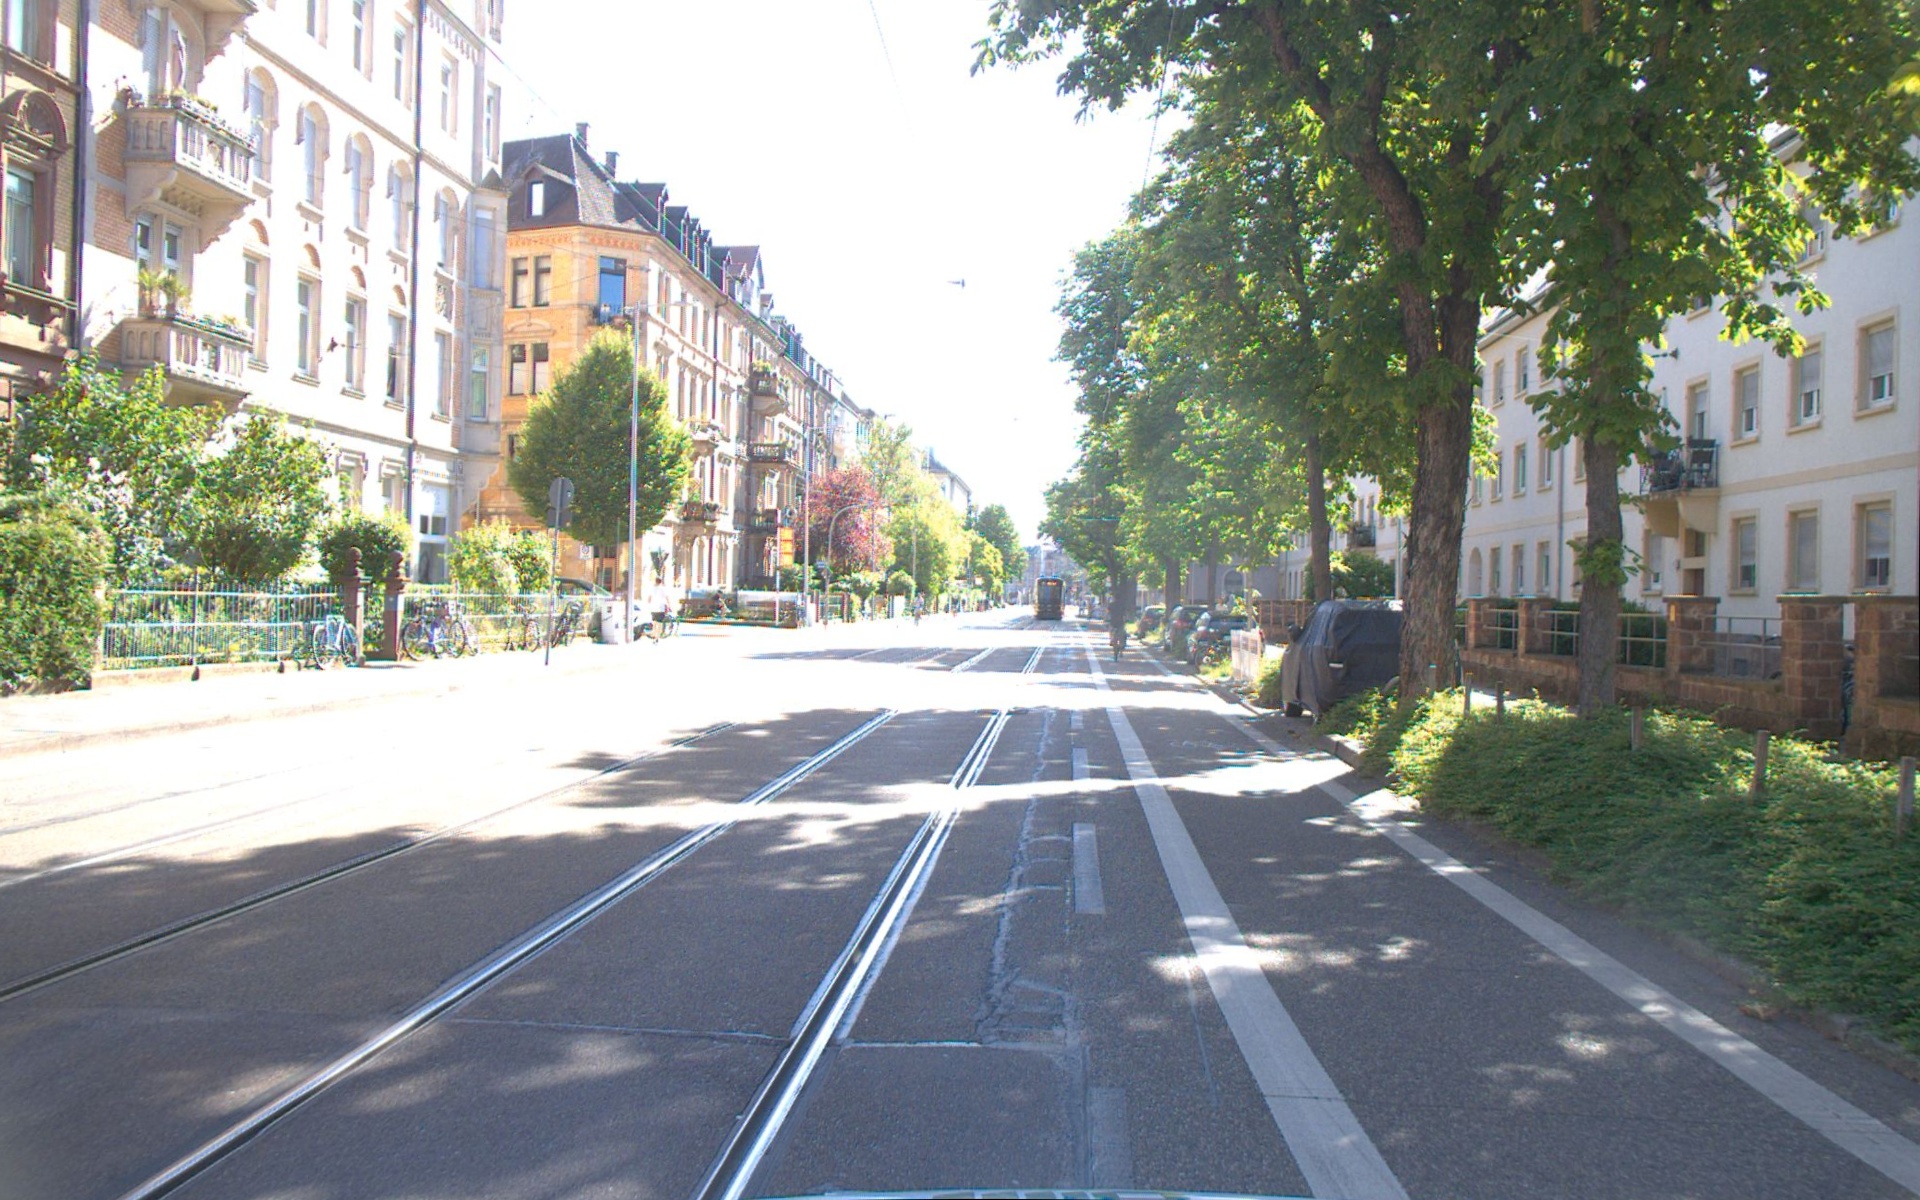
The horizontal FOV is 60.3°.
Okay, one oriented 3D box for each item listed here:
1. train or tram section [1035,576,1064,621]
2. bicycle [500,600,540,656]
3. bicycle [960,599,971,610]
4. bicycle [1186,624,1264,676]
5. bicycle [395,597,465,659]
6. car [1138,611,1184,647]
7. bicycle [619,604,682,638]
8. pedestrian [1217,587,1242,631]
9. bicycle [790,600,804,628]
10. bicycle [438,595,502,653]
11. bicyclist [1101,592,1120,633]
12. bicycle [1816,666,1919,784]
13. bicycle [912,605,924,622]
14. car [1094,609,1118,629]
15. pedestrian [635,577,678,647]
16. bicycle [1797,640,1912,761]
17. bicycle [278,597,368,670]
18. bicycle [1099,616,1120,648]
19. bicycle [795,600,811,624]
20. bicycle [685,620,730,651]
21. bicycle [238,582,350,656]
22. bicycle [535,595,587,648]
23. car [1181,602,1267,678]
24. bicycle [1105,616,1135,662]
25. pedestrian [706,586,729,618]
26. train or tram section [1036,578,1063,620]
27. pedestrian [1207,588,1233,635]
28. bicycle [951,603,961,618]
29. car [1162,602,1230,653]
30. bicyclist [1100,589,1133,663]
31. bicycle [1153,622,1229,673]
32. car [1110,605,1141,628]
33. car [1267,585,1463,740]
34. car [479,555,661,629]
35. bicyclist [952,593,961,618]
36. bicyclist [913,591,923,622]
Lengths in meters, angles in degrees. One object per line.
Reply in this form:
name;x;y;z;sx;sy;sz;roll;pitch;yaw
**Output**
train or tram section;7.479;-0.105;138.108;2.109;3.491;6.614;4;0;3
bicycle;-9.457;0.581;35.527;0.555;1.051;1.757;7;0;-21
bicycle;0.578;0.467;165.670;0.622;1.087;1.826;4;0;-13
bicycle;6.246;1.179;39.072;1.725;1.096;0.434;4;0;5
bicycle;-9.554;0.495;29.892;0.551;1.051;1.768;4;0;3
car;8.866;1.268;73.148;1.750;1.489;4.046;2;0;3
bicycle;-9.548;0.650;51.052;1.765;0.930;0.614;4;-2;-32
pedestrian;11.100;0.355;68.055;0.749;1.754;0.578;4;0;33
bicycle;-6.996;0.606;70.988;0.363;1.146;0.809;4;0;4
bicycle;-9.427;0.455;31.869;0.551;1.051;1.768;4;0;3
bicyclist;5.712;0.468;62.796;0.622;1.493;0.616;4;0;4
bicycle;10.768;1.445;19.564;0.438;1.260;1.676;2;0;2
bicycle;-2.295;0.736;90.916;0.450;0.942;2.204;1;0;4
car;11.232;1.433;127.669;1.712;1.445;4.001;1;0;3
pedestrian;-7.850;0.316;42.877;0.812;1.753;1.082;4;-1;-1
bicycle;10.188;1.117;18.893;0.438;1.260;1.676;2;0;2
bicycle;-9.966;0.509;25.934;0.551;1.051;1.768;4;1;4
bicycle;5.704;1.211;63.112;0.677;1.132;1.918;4;0;4
bicycle;-6.838;0.522;71.979;0.328;1.018;1.870;4;0;4
bicycle;-8.328;1.176;54.557;1.278;0.930;0.614;4;-2;-32
bicycle;-10.917;0.309;27.129;1.542;1.051;0.479;6;0;3
bicycle;-8.985;0.482;37.180;0.558;1.051;1.748;3;1;-32
car;6.731;0.984;42.511;1.631;1.791;4.232;3;0;3
bicycle;4.242;1.026;43.998;0.677;1.132;1.719;4;0;4
pedestrian;-10.554;0.081;72.064;0.882;1.376;0.577;1;-1;5
train or tram section;7.841;-0.074;144.726;2.109;3.491;6.614;4;0;3
pedestrian;9.973;0.443;63.496;0.592;1.802;0.905;0;0;-27
bicycle;-0.297;0.782;124.325;0.677;1.132;1.719;1;0;4
car;7.464;0.840;52.547;1.684;1.499;4.247;1;0;2
bicyclist;4.148;0.682;43.829;0.712;1.880;0.837;4;0;3
bicycle;5.529;1.130;39.603;1.725;1.096;0.434;4;0;5
car;10.848;1.061;108.581;1.595;1.461;4.665;2;0;1
car;5.410;0.773;22.650;1.707;1.796;4.479;4;0;3
car;-10.646;-0.207;45.326;4.352;1.672;1.968;4;-1;6
bicyclist;-0.267;0.398;124.413;0.646;1.833;0.616;0;-1;4
bicyclist;-2.297;0.357;90.829;0.454;1.647;0.745;0;-1;4
